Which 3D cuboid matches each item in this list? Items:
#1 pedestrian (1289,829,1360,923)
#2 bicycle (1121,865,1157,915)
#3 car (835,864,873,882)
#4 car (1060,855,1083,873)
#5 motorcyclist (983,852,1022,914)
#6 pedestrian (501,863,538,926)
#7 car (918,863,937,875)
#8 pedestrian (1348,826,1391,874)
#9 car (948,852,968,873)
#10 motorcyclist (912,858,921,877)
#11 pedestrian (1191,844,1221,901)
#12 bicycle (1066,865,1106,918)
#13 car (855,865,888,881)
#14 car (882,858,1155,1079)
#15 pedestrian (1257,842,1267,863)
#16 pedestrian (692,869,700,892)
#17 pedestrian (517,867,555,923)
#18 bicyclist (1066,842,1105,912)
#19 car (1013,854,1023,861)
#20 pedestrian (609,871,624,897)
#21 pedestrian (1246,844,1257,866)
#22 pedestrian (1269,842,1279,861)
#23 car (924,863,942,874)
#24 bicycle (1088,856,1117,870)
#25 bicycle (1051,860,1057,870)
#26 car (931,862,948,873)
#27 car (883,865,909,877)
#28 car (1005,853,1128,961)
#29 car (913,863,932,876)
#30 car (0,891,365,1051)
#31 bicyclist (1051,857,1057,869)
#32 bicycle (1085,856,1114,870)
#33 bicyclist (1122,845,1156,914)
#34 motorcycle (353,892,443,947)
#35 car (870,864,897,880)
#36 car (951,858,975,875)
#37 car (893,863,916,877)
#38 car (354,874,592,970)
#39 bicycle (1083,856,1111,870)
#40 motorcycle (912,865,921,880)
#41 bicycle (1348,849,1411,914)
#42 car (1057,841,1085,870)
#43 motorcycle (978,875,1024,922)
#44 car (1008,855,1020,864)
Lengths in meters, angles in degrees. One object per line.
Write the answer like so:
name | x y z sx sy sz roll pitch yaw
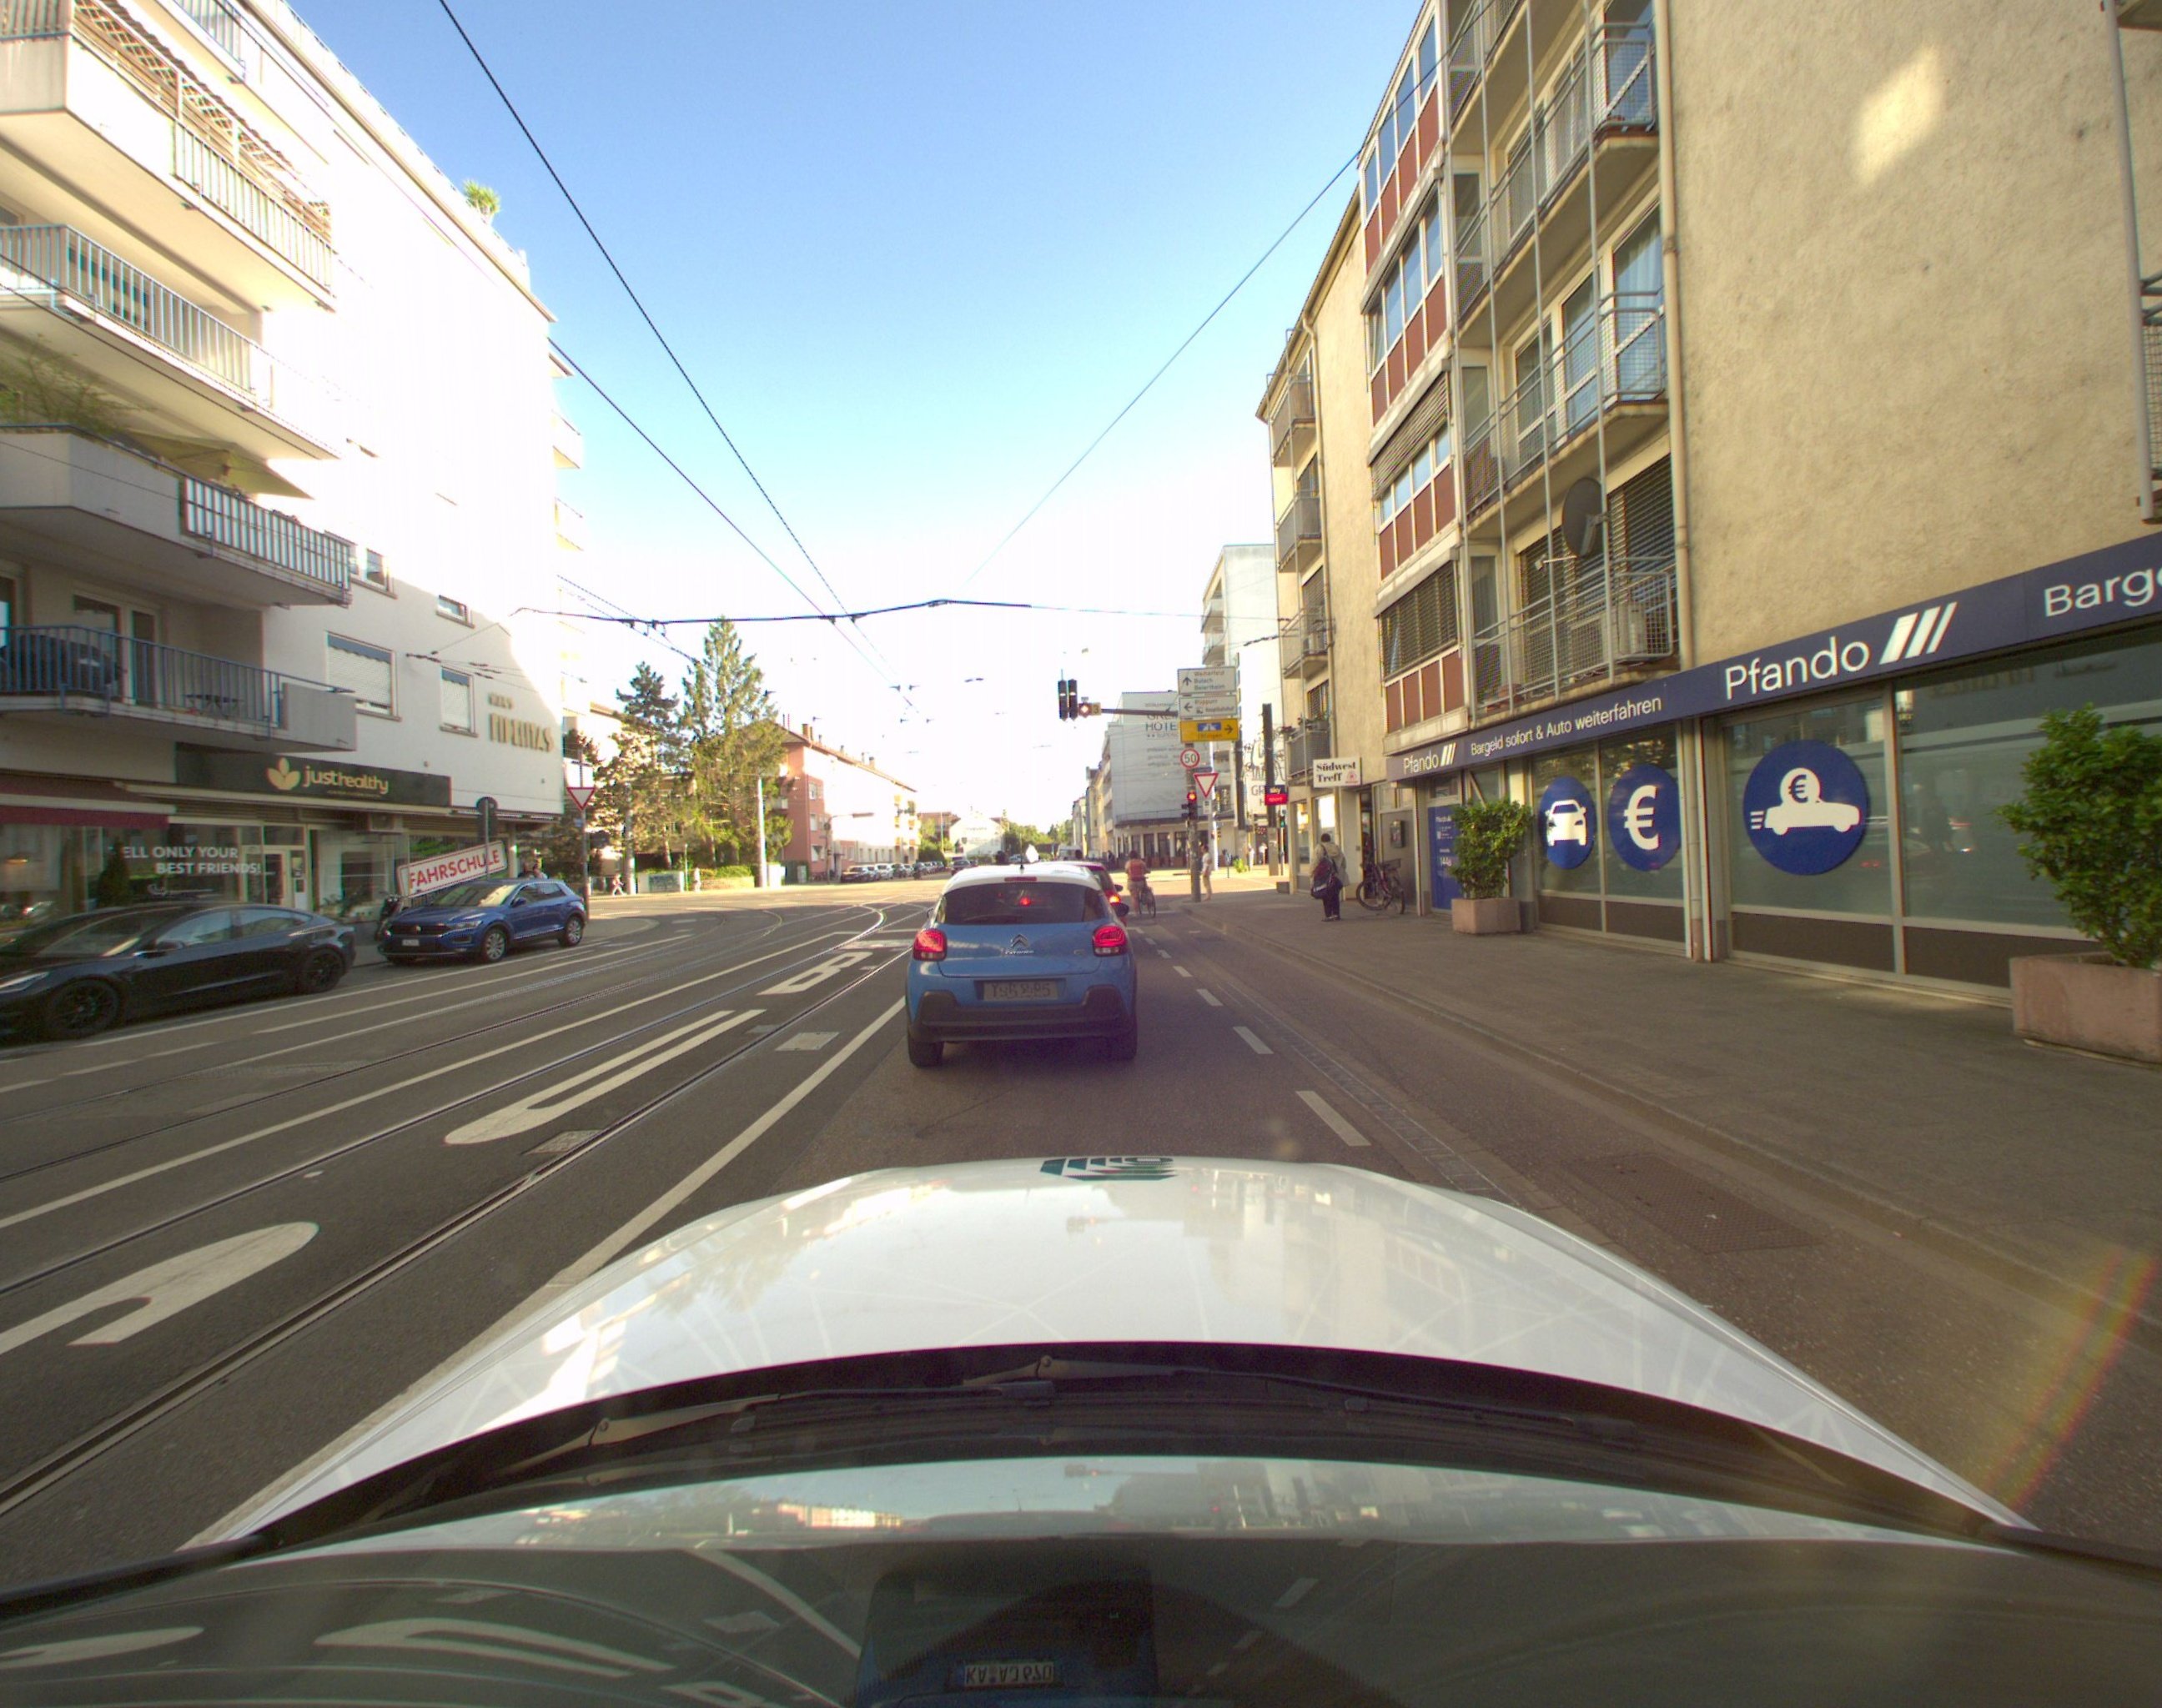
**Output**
pedestrian | 4.411 0.380 14.788 0.883 1.592 0.809 -5 1 -7
bicycle | 1.494 0.873 20.627 0.807 1.181 2.068 -1 -1 6
car | -19.370 1.625 69.683 2.149 1.432 4.435 0 -2 -3
car | -0.836 0.834 68.028 1.654 1.431 3.882 0 0 -4
motorcyclist | -1.909 0.699 19.944 0.852 1.488 0.729 0 -1 1
pedestrian | -17.322 1.248 25.125 0.568 1.900 0.742 -2 -3 16
car | -20.400 1.944 108.298 1.865 1.576 3.995 0 0 -3
pedestrian | 6.784 -0.091 19.169 0.627 1.087 0.672 -3 1 -35
car | -18.057 1.253 119.755 2.411 3.142 3.487 0 -1 -1
motorcyclist | -13.639 1.137 67.598 0.694 1.497 0.681 -2 -2 -12
pedestrian | 3.718 0.530 24.236 0.534 1.623 0.737 -7 -3 23
bicycle | 0.124 0.901 20.213 0.937 1.223 2.094 0 -1 1
car | -19.323 1.752 75.301 1.897 1.436 4.102 0 0 0
car | -0.270 0.785 7.292 1.727 1.452 3.669 -2 0 6
pedestrian | 13.828 -0.120 62.228 0.604 1.608 0.673 -1 -1 31
pedestrian | -26.703 1.830 56.505 0.519 1.568 0.568 0 -1 -26
pedestrian | -18.053 1.349 27.008 0.732 1.792 0.663 -2 0 5
bicyclist | 0.116 0.550 20.014 0.937 1.673 1.079 0 -1 0
car | -14.514 0.831 188.451 2.068 1.762 5.034 0 0 -1
pedestrian | -31.550 2.045 55.349 0.785 1.722 0.699 0 -1 -22
pedestrian | 12.597 0.052 60.274 0.604 1.608 0.673 -1 -1 29
pedestrian | 15.290 -0.200 64.412 0.600 1.444 0.558 -1 -1 30
car | -20.578 1.985 113.386 1.865 1.576 3.995 0 0 -3
bicycle | 1.767 0.726 65.934 2.246 1.001 0.855 -4 0 -4
bicycle | -4.583 1.942 138.289 0.787 1.670 2.232 0 -1 3
car | -20.778 2.036 119.666 1.865 1.576 3.995 0 0 -3
car | -19.622 1.760 86.685 1.942 1.239 4.279 0 0 -2
car | -0.296 0.755 13.641 1.780 1.521 3.758 0 0 -3
car | -20.098 1.902 103.291 1.865 1.576 3.995 0 0 -3
car | -11.998 1.307 10.429 1.764 1.475 4.443 0 0 -1
bicyclist | -4.587 1.476 138.297 0.787 2.024 0.987 0 -1 3
bicycle | 1.537 0.729 67.307 2.246 1.001 0.855 -4 0 -4
bicyclist | 1.477 0.635 20.484 0.807 1.692 0.937 0 -1 6
motorcycle | -15.877 1.494 18.994 0.605 1.134 1.795 0 -1 -2
car | -19.413 1.781 80.081 1.737 1.526 4.227 0 0 -1
car | -11.127 1.131 76.856 1.775 1.486 3.824 -3 0 -3
car | -20.060 1.819 92.731 1.865 1.576 3.995 0 0 -3
car | -11.870 1.240 16.327 1.765 1.503 4.233 0 1 -4
bicycle | 1.356 0.748 68.421 2.246 1.001 0.855 -4 0 -4
motorcycle | -13.605 1.543 67.465 0.712 1.220 1.957 -2 -2 -12
bicycle | 5.747 0.512 15.755 0.495 1.161 1.776 -2 -1 -1
car | -0.967 0.176 73.028 2.260 2.482 5.002 -1 0 -3
motorcycle | -1.909 1.050 19.767 0.852 1.047 1.943 0 -1 2
car | -14.011 1.181 170.428 2.212 1.932 4.946 0 0 -1
